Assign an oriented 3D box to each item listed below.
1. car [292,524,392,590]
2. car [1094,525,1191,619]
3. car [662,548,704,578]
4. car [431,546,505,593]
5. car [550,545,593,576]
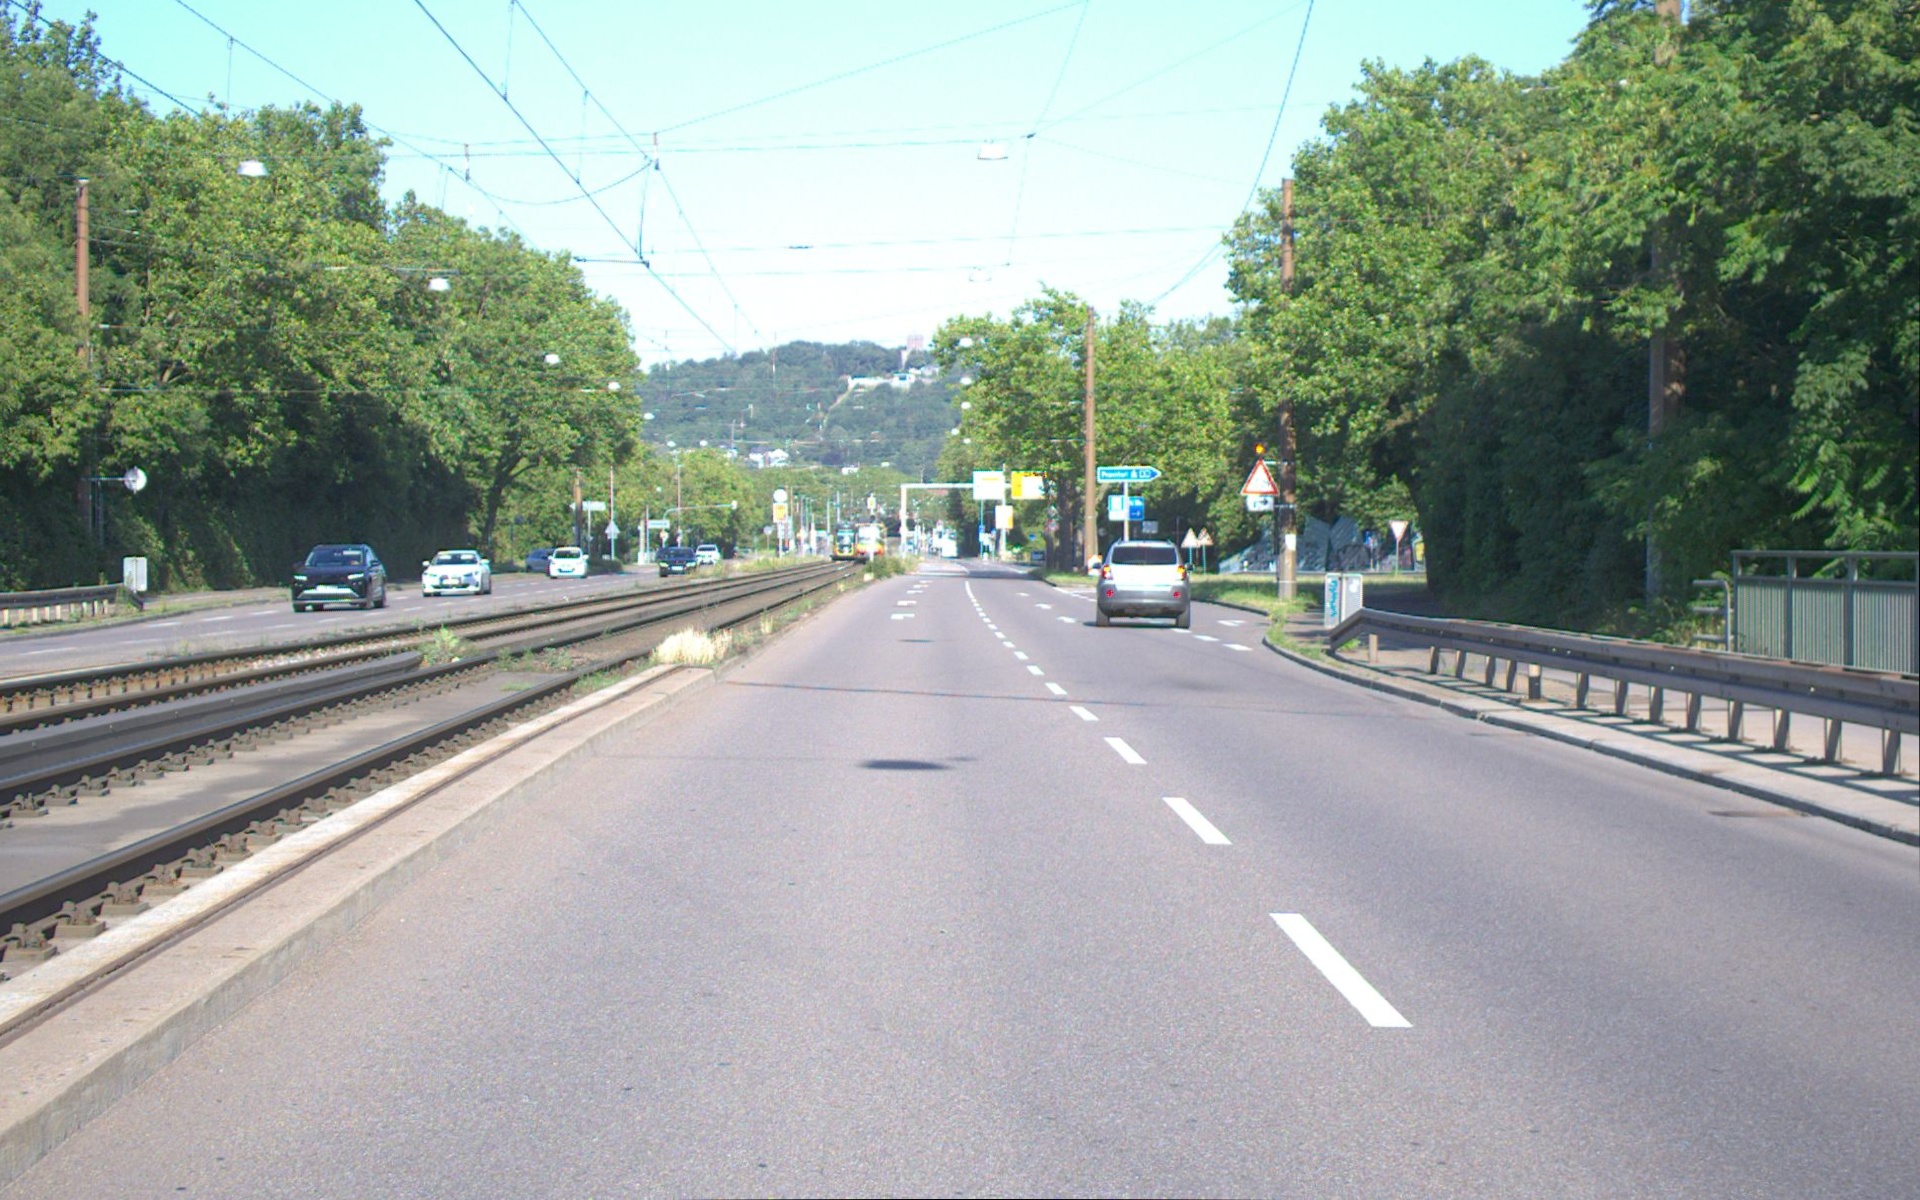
[{"bbox_3d":[-15.200,-1.064,84.741,1.709,1.575,4.801,0,1,-1],"label":"car"},{"bbox_3d":[3.642,-0.565,68.165,1.809,1.767,3.862,1,1,4],"label":"car"},{"bbox_3d":[-13.608,-1.839,169.137,1.657,1.428,4.502,-2,1,0],"label":"car"},{"bbox_3d":[-15.600,-0.979,109.290,1.754,1.409,4.878,-2,1,-2],"label":"car"},{"bbox_3d":[-19.929,-2.023,176.588,1.691,1.550,4.191,-2,1,0],"label":"car"}]
